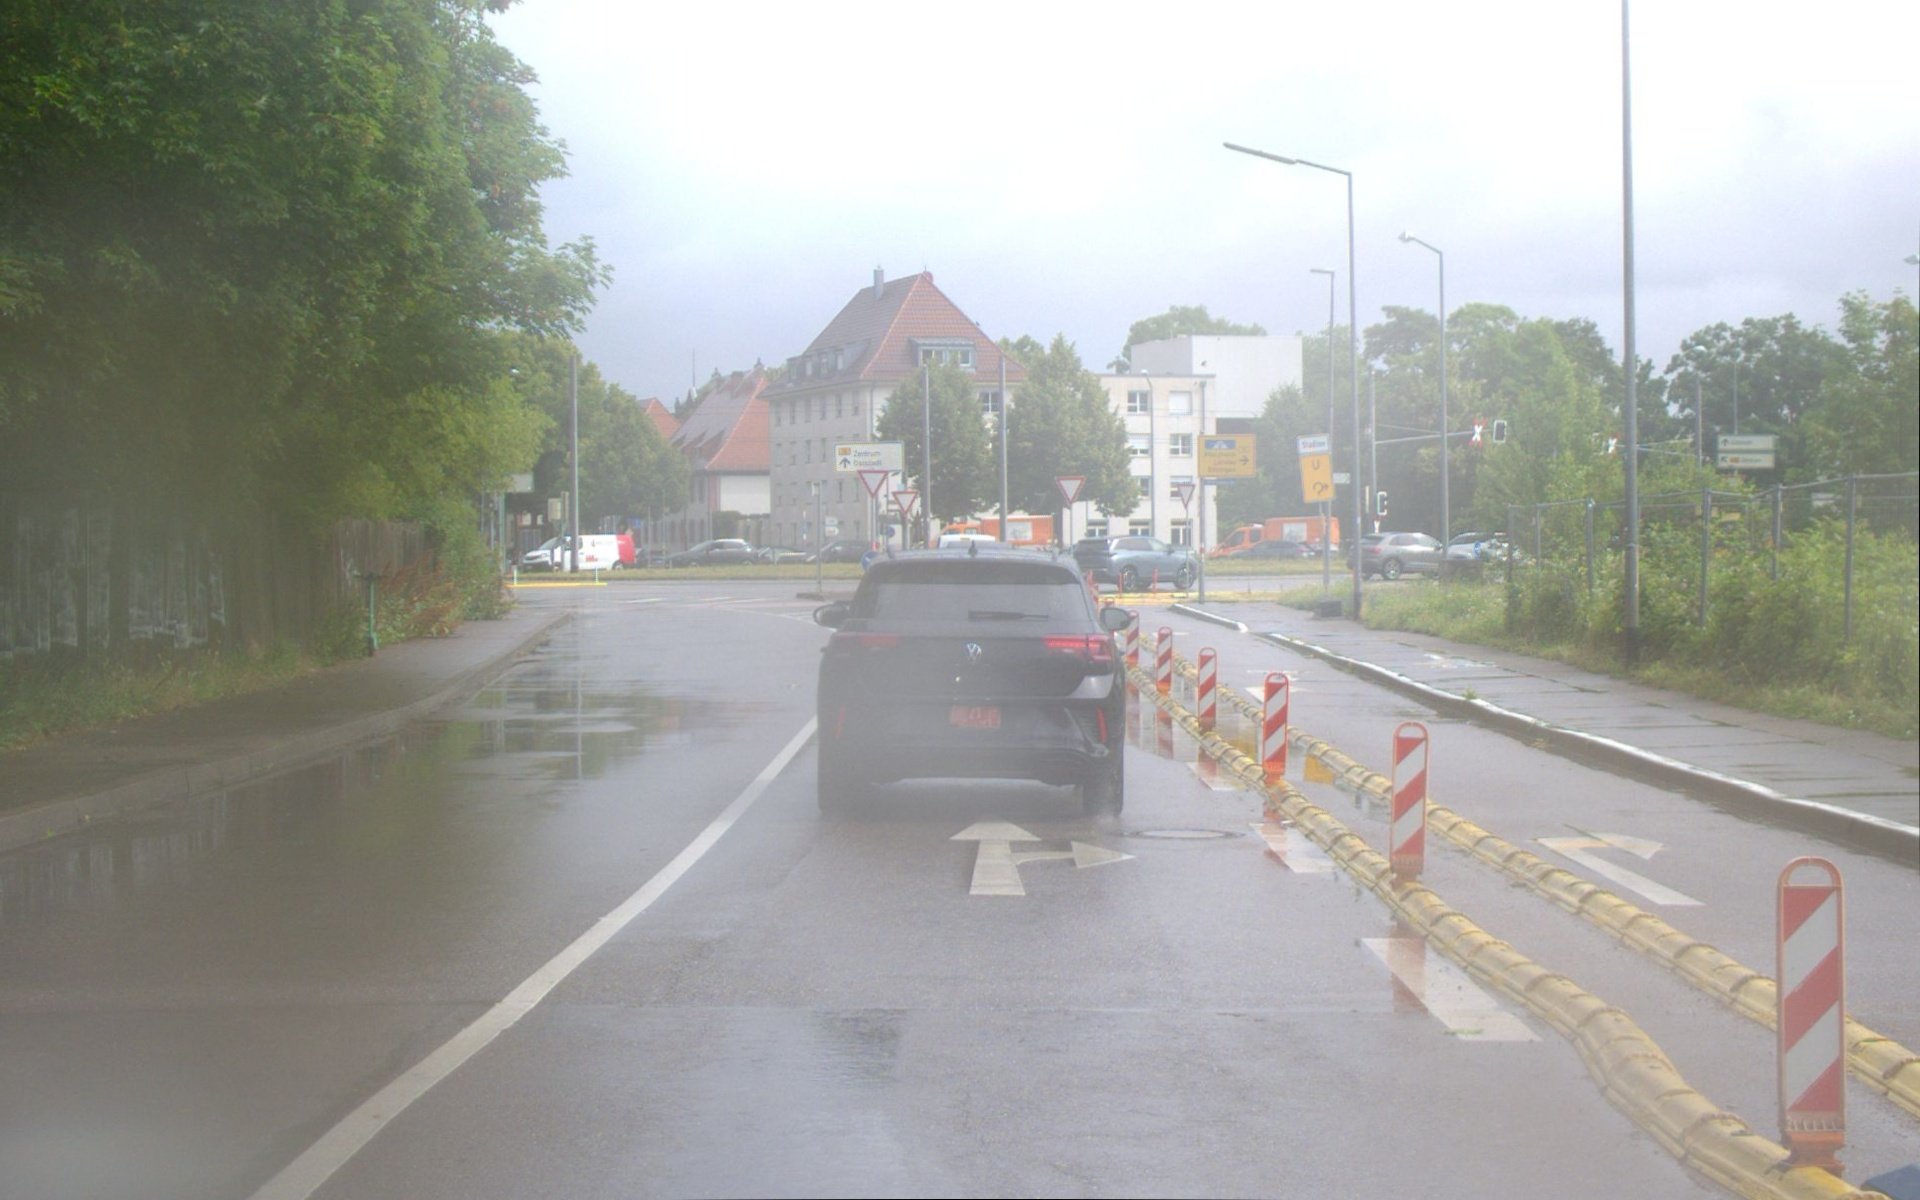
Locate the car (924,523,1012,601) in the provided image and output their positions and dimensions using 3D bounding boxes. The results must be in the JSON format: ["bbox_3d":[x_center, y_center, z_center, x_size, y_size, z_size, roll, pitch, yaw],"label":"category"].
[{"bbox_3d":[0.160,-0.913,81.078,1.864,1.803,4.404,0,1,-2],"label":"car"}]

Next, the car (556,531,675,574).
[{"bbox_3d":[-15.490,-2.127,154.792,5.117,1.870,1.894,-1,1,-38],"label":"car"}]

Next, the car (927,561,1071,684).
[{"bbox_3d":[0.468,0.258,44.894,1.735,1.509,3.604,0,1,-2],"label":"car"}]

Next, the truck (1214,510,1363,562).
[{"bbox_3d":[15.859,-3.089,166.088,6.710,2.434,2.431,0,1,24],"label":"truck"}]

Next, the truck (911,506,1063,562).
[{"bbox_3d":[1.307,-3.096,161.177,7.067,2.641,2.330,0,1,2],"label":"truck"}]

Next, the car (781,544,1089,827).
[{"bbox_3d":[-0.224,0.459,21.086,1.708,1.568,3.683,1,1,-3],"label":"car"}]
